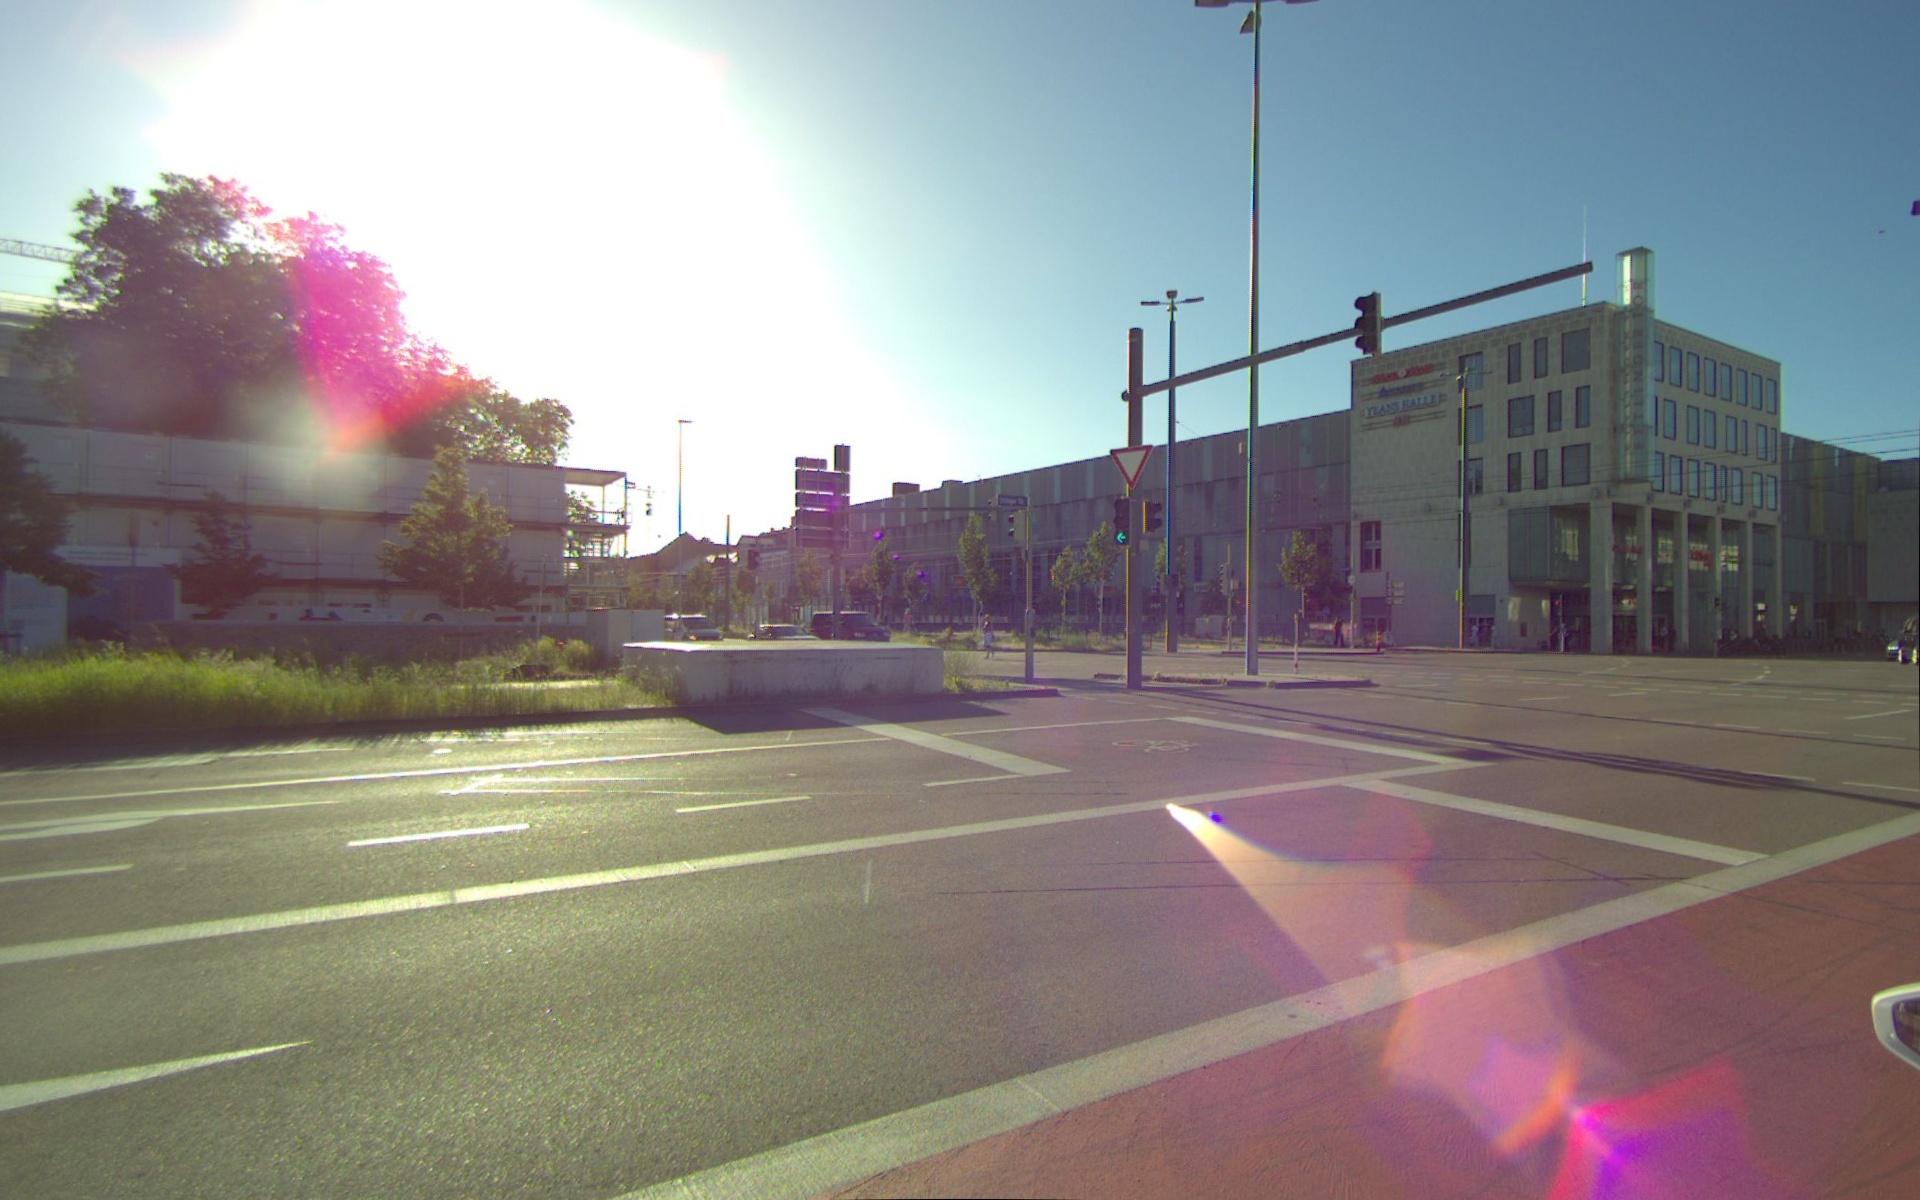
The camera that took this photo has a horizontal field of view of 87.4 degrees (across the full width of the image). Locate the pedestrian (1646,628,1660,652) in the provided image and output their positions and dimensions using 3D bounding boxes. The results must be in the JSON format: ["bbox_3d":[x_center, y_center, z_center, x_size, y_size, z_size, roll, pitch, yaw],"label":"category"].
[{"bbox_3d":[46.354,2.661,67.187,0.613,1.629,0.653,0,-1,24],"label":"pedestrian"}]

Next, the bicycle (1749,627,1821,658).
[{"bbox_3d":[54.998,2.796,67.045,0.893,2.040,3.598,1,-2,-34],"label":"bicycle"}]

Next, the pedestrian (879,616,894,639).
[{"bbox_3d":[-4.925,1.849,67.211,0.718,1.522,0.794,1,-1,-39],"label":"pedestrian"}]

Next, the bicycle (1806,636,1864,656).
[{"bbox_3d":[63.575,3.330,73.025,0.893,1.419,3.032,1,-2,-34],"label":"bicycle"}]

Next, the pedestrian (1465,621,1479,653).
[{"bbox_3d":[33.400,2.399,65.522,0.512,2.040,0.618,1,-1,-39],"label":"pedestrian"}]

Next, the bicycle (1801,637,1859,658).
[{"bbox_3d":[62.471,3.393,72.142,0.893,1.419,3.032,1,-2,-34],"label":"bicycle"}]

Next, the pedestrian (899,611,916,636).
[{"bbox_3d":[-3.266,1.457,62.277,0.718,1.522,0.794,1,-1,-39],"label":"pedestrian"}]

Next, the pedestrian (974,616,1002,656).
[{"bbox_3d":[1.078,1.389,38.554,0.796,1.522,0.716,1,-1,-40],"label":"pedestrian"}]

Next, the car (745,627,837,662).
[{"bbox_3d":[-7.244,1.883,42.772,1.856,1.392,4.604,3,-4,-38],"label":"car"}]

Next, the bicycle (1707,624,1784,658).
[{"bbox_3d":[48.863,2.551,62.566,1.075,2.040,3.598,1,-2,-34],"label":"bicycle"}]

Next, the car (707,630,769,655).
[{"bbox_3d":[-13.423,2.566,60.613,1.856,1.450,4.604,3,-3,-38],"label":"car"}]

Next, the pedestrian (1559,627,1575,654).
[{"bbox_3d":[36.435,2.409,60.290,0.646,1.629,0.619,1,-1,-32],"label":"pedestrian"}]

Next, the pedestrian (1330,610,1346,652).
[{"bbox_3d":[18.751,1.531,49.797,0.620,2.040,0.509,1,-1,-44],"label":"pedestrian"}]

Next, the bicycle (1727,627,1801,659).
[{"bbox_3d":[52.282,2.763,65.350,1.075,2.040,3.598,1,-2,-34],"label":"bicycle"}]

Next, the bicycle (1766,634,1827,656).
[{"bbox_3d":[57.226,3.073,68.755,0.893,1.419,3.032,1,-2,-34],"label":"bicycle"}]

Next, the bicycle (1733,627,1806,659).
[{"bbox_3d":[53.187,2.796,66.051,1.075,2.040,3.598,1,-2,-34],"label":"bicycle"}]

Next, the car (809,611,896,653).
[{"bbox_3d":[-5.069,1.516,46.889,1.856,1.834,4.604,3,-3,-38],"label":"car"}]

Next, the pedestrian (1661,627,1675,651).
[{"bbox_3d":[47.222,2.595,67.017,0.613,1.629,0.653,0,-1,24],"label":"pedestrian"}]

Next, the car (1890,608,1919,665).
[{"bbox_3d":[32.587,1.166,33.465,1.969,1.765,4.625,-1,0,39],"label":"car"}]

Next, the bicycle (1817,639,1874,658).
[{"bbox_3d":[65.749,3.585,74.590,0.893,1.419,3.032,1,-2,-34],"label":"bicycle"}]

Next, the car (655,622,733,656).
[{"bbox_3d":[-13.375,1.959,50.345,2.119,1.631,4.604,3,-3,-38],"label":"car"}]

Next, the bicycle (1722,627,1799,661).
[{"bbox_3d":[50.237,2.746,63.069,1.075,2.040,3.598,1,-2,-34],"label":"bicycle"}]

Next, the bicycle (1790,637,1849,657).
[{"bbox_3d":[60.879,3.317,71.170,0.893,1.419,3.032,1,-2,-34],"label":"bicycle"}]

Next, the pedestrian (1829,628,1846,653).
[{"bbox_3d":[58.328,2.694,66.798,0.731,1.629,0.623,-1,-1,32],"label":"pedestrian"}]

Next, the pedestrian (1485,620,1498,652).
[{"bbox_3d":[34.833,2.361,65.795,0.512,2.040,0.618,1,-1,-39],"label":"pedestrian"}]

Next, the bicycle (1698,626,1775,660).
[{"bbox_3d":[47.759,2.636,61.832,1.077,2.040,3.593,1,-2,-38],"label":"bicycle"}]

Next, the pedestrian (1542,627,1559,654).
[{"bbox_3d":[35.970,2.444,61.186,0.646,1.629,0.619,1,-1,-32],"label":"pedestrian"}]

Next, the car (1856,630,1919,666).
[{"bbox_3d":[42.541,2.141,45.583,4.603,1.374,1.979,-1,0,-38],"label":"car"}]

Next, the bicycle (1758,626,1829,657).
[{"bbox_3d":[56.481,2.784,68.120,0.893,2.040,3.598,1,-2,-34],"label":"bicycle"}]
